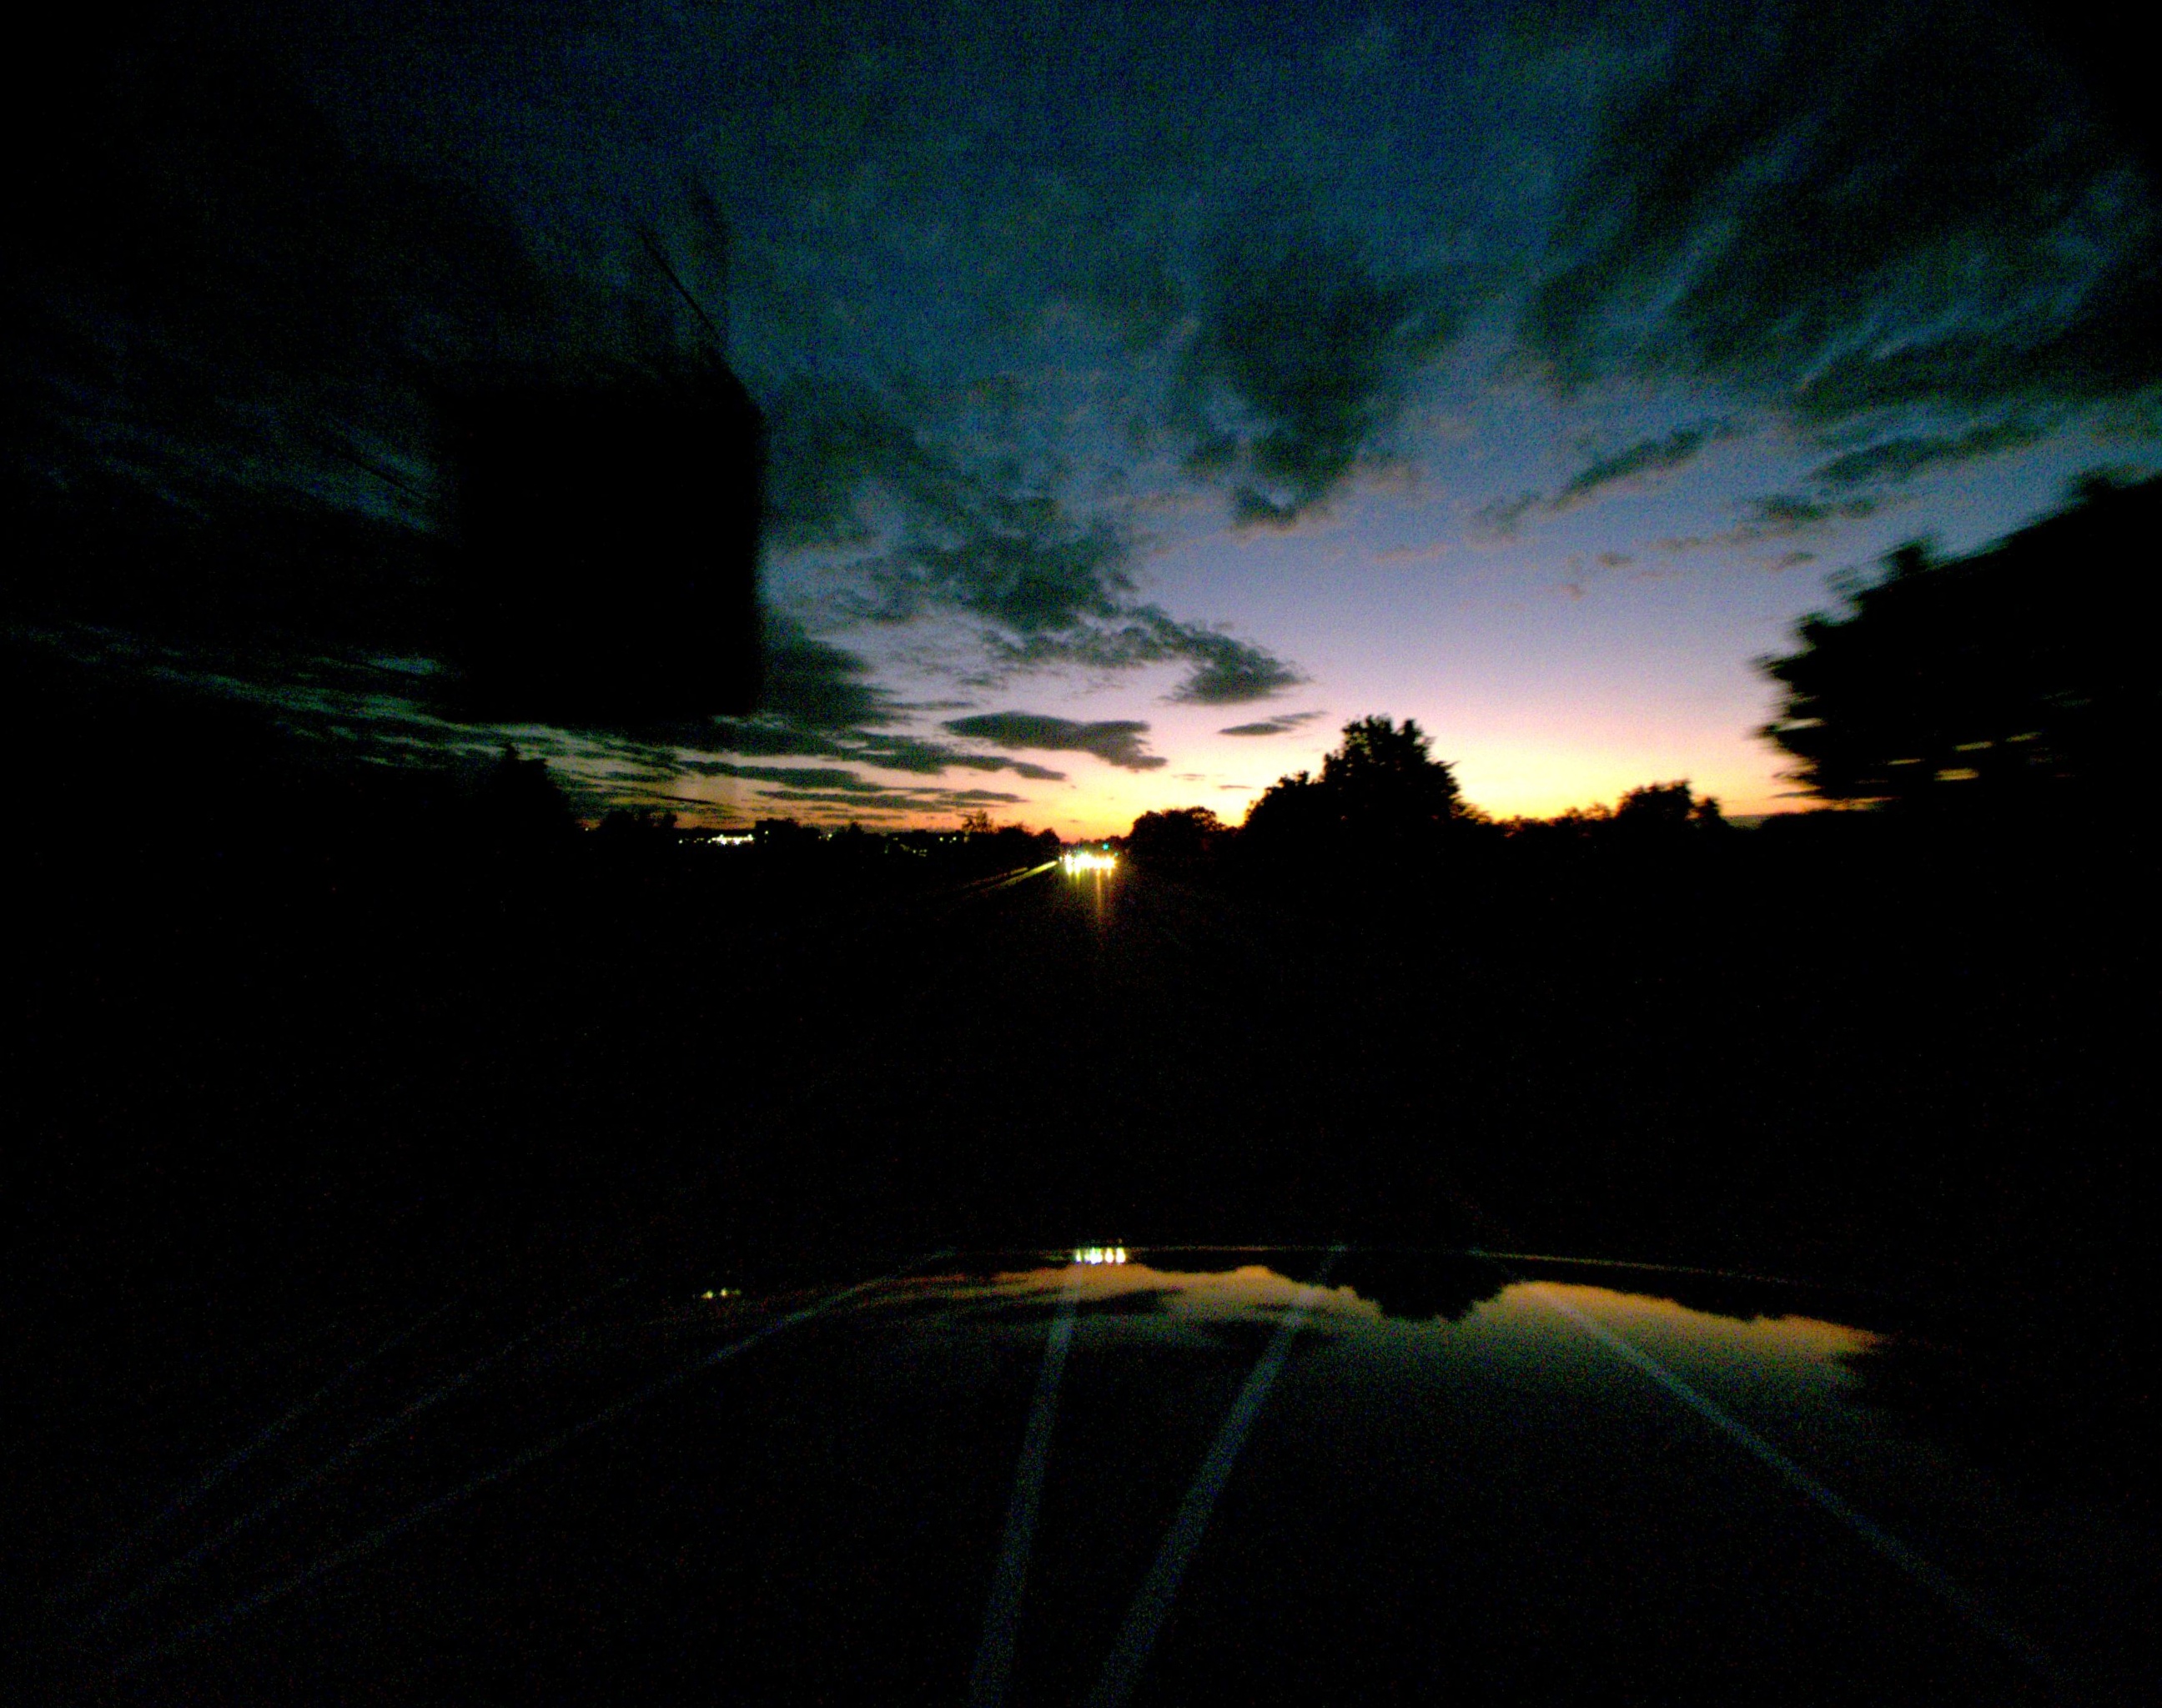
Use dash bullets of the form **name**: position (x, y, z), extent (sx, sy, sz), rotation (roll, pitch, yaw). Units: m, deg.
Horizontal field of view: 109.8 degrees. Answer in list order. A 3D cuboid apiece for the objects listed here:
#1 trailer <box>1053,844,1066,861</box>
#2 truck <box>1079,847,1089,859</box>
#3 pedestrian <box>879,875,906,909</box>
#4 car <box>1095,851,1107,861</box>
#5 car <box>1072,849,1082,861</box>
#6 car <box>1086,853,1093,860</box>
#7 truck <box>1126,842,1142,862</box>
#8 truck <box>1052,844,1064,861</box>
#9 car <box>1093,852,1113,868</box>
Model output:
- **trailer**: position (-5.041, -0.411, 180.263), extent (2.474, 3.789, 12.671), rotation (-2, 0, 2)
- **truck**: position (1.044, -0.328, 252.522), extent (3.016, 3.674, 9.058), rotation (-2, 0, 1)
- **pedestrian**: position (-9.559, 1.912, 38.554), extent (1.064, 1.633, 1.118), rotation (-2, 1, 0)
- **car**: position (3.520, 0.362, 135.976), extent (1.999, 1.778, 3.999), rotation (-2, 0, 0)
- **car**: position (-0.748, 0.116, 133.303), extent (1.741, 2.002, 3.999), rotation (-2, 0, -1)
- **car**: position (2.399, 0.763, 219.038), extent (1.998, 2.002, 4.000), rotation (-2, 0, 1)
- **truck**: position (14.753, -0.561, 210.877), extent (3.211, 5.225, 12.606), rotation (-2, 1, -1)
- **truck**: position (-5.246, -0.350, 173.209), extent (2.491, 3.778, 5.498), rotation (-2, 1, 1)
- **car**: position (2.310, 0.594, 80.461), extent (1.998, 1.635, 4.296), rotation (-2, 0, 0)
